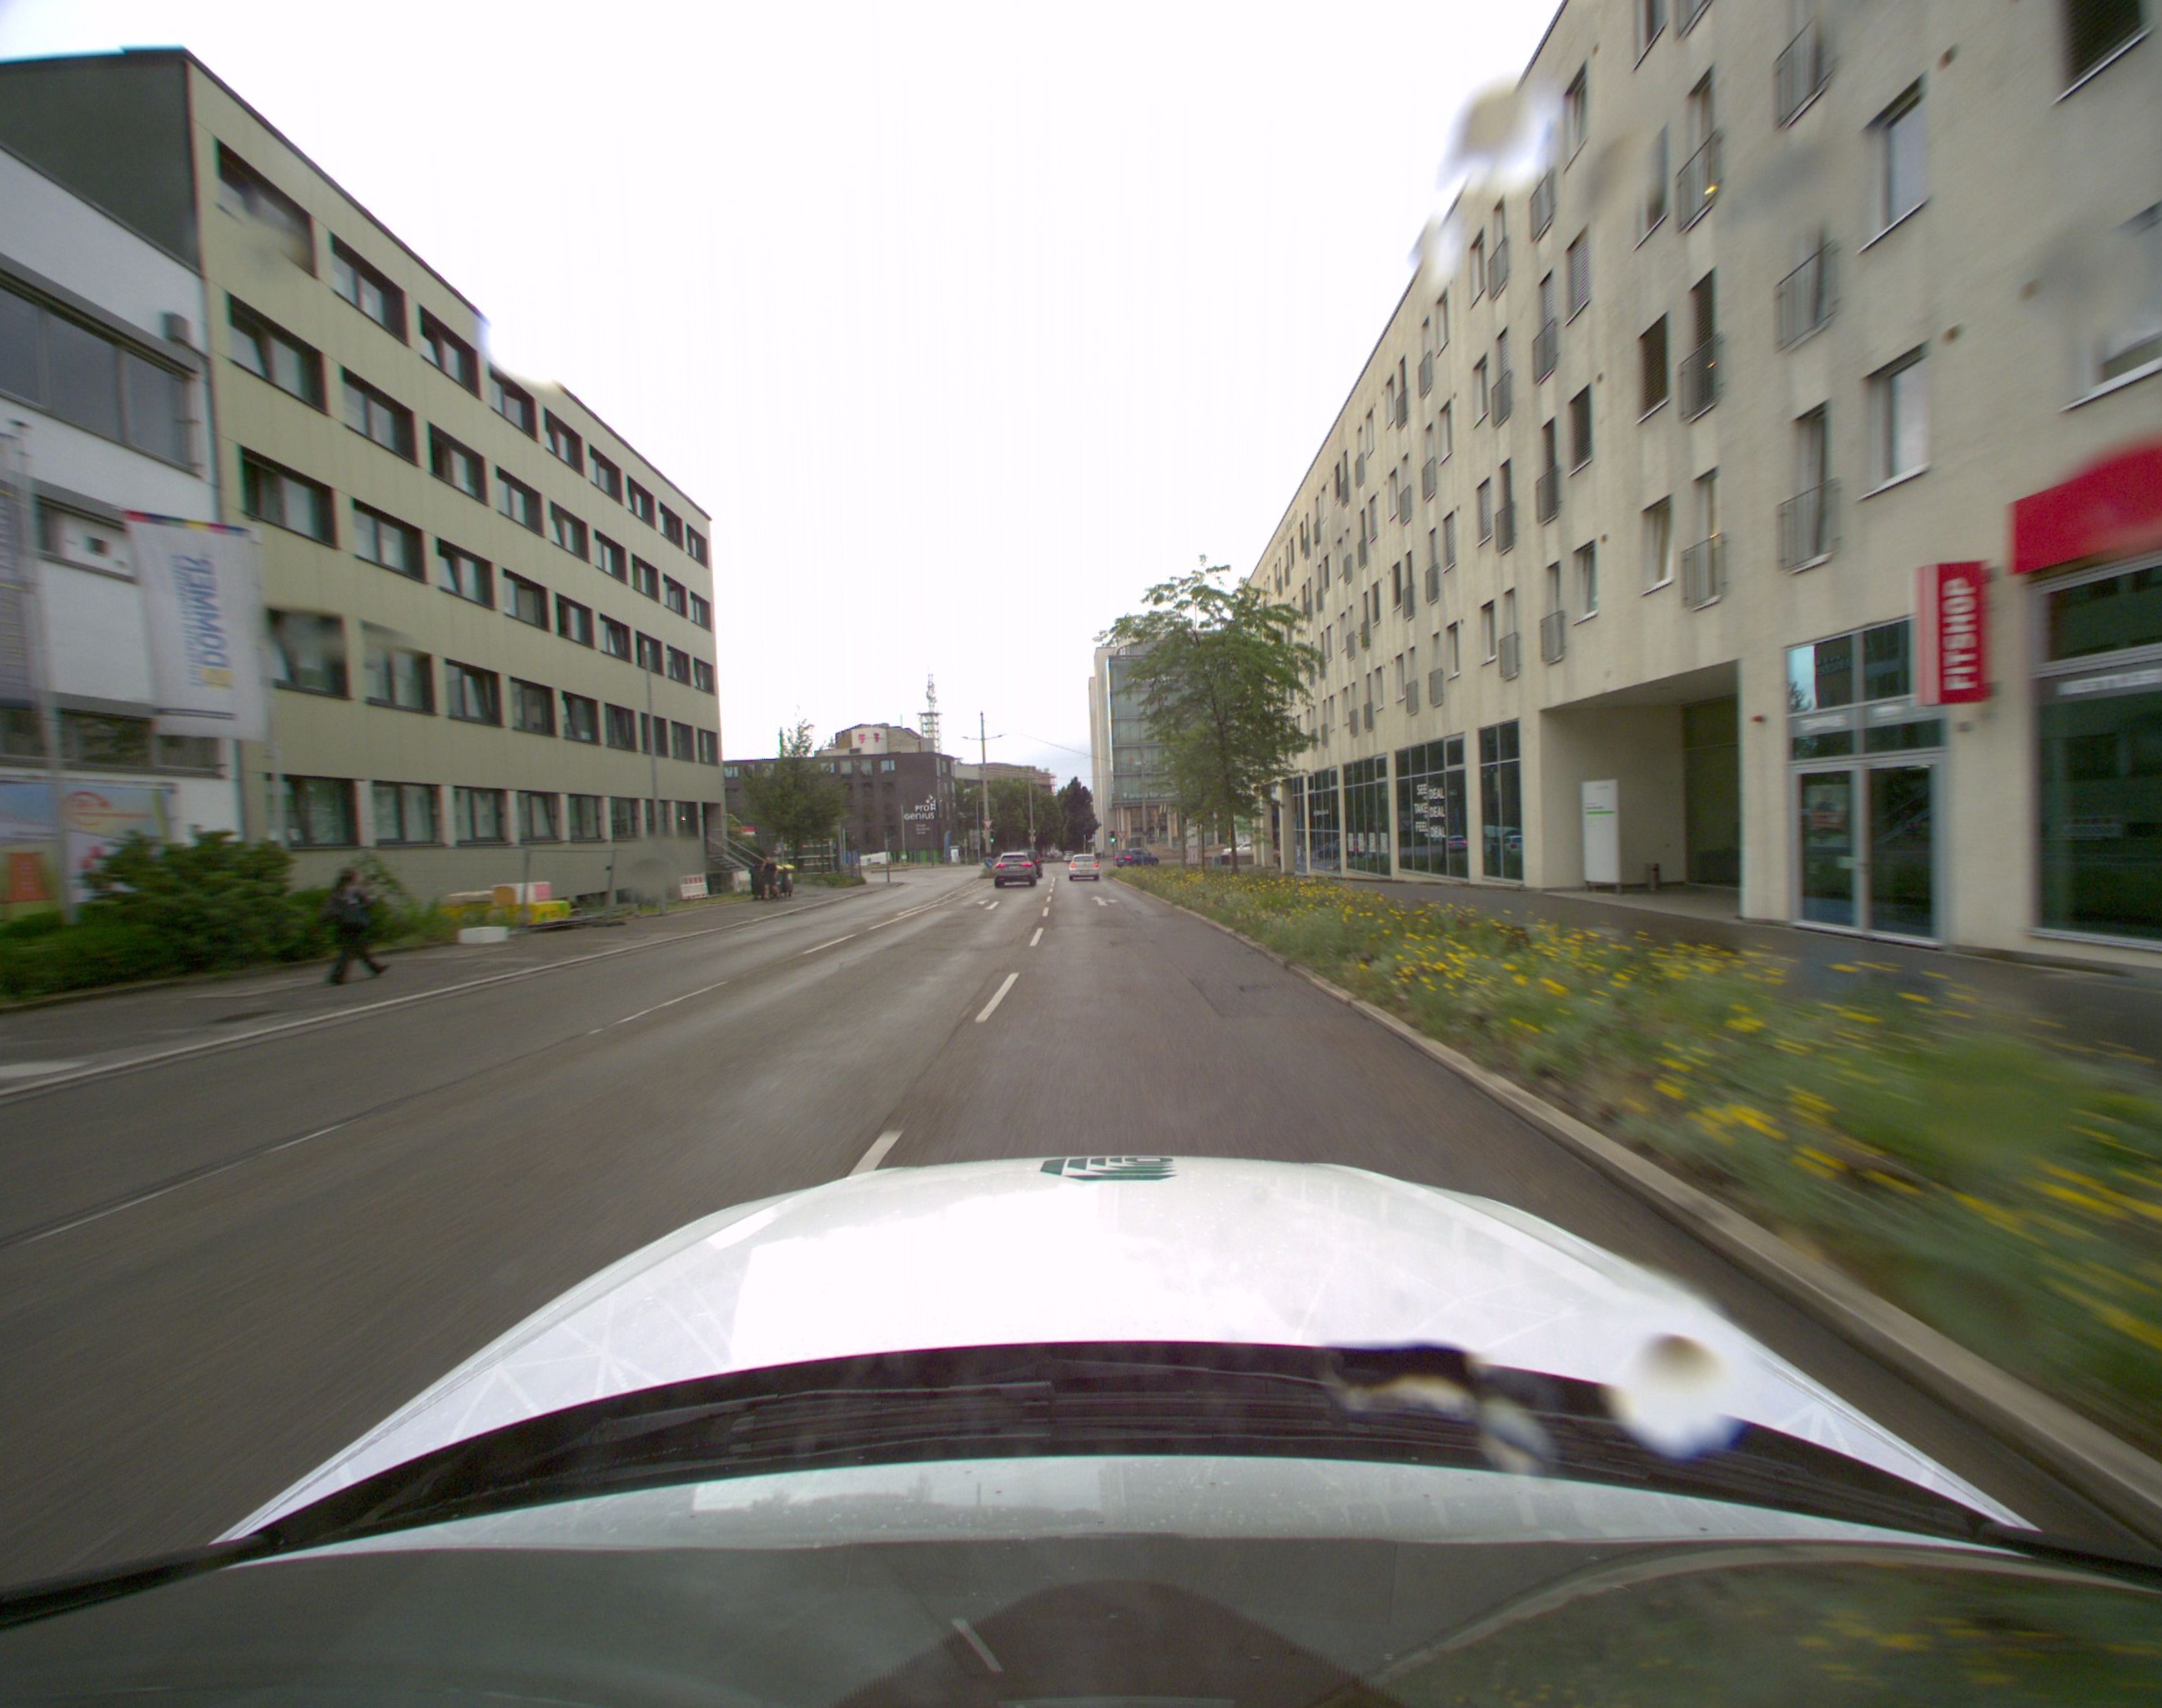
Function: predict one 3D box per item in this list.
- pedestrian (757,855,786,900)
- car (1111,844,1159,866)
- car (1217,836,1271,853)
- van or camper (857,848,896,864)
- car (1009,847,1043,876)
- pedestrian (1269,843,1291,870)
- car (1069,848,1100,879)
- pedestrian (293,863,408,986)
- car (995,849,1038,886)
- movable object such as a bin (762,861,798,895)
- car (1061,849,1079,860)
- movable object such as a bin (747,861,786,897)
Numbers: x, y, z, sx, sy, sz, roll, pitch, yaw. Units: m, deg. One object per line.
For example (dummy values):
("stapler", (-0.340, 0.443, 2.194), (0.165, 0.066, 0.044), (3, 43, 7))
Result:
("pedestrian", (-12.139, 0.912, 31.938), (0.752, 1.732, 0.942), (-1, 0, 2))
("car", (4.534, 0.042, 68.166), (1.974, 1.573, 4.026), (-1, 3, 40))
("car", (16.176, -0.939, 80.871), (4.936, 1.387, 1.821), (-3, 2, -3))
("van or camper", (-31.726, 0.308, 126.287), (5.317, 2.368, 2.737), (-1, 0, -3))
("car", (-3.731, 0.492, 54.670), (1.852, 1.768, 4.119), (-3, 0, -8))
("pedestrian", (12.932, 0.154, 52.937), (1.092, 1.712, 0.866), (-2, 1, -32))
("car", (0.164, 0.497, 46.646), (1.666, 1.473, 3.779), (-2, 3, -1))
("pedestrian", (-10.463, 0.980, 11.705), (0.764, 1.676, 0.968), (-1, 0, 0))
("car", (-3.058, 0.610, 39.410), (1.903, 1.632, 4.207), (-1, 0, -2))
("movable object such as a bin", (-12.947, 1.009, 35.062), (1.050, 1.445, 1.358), (0, 0, 0))
("car", (-1.702, 0.064, 125.851), (1.995, 1.717, 3.984), (-1, 0, -11))
("movable object such as a bin", (-12.961, 1.023, 33.635), (1.050, 1.445, 1.430), (0, 0, 0))
